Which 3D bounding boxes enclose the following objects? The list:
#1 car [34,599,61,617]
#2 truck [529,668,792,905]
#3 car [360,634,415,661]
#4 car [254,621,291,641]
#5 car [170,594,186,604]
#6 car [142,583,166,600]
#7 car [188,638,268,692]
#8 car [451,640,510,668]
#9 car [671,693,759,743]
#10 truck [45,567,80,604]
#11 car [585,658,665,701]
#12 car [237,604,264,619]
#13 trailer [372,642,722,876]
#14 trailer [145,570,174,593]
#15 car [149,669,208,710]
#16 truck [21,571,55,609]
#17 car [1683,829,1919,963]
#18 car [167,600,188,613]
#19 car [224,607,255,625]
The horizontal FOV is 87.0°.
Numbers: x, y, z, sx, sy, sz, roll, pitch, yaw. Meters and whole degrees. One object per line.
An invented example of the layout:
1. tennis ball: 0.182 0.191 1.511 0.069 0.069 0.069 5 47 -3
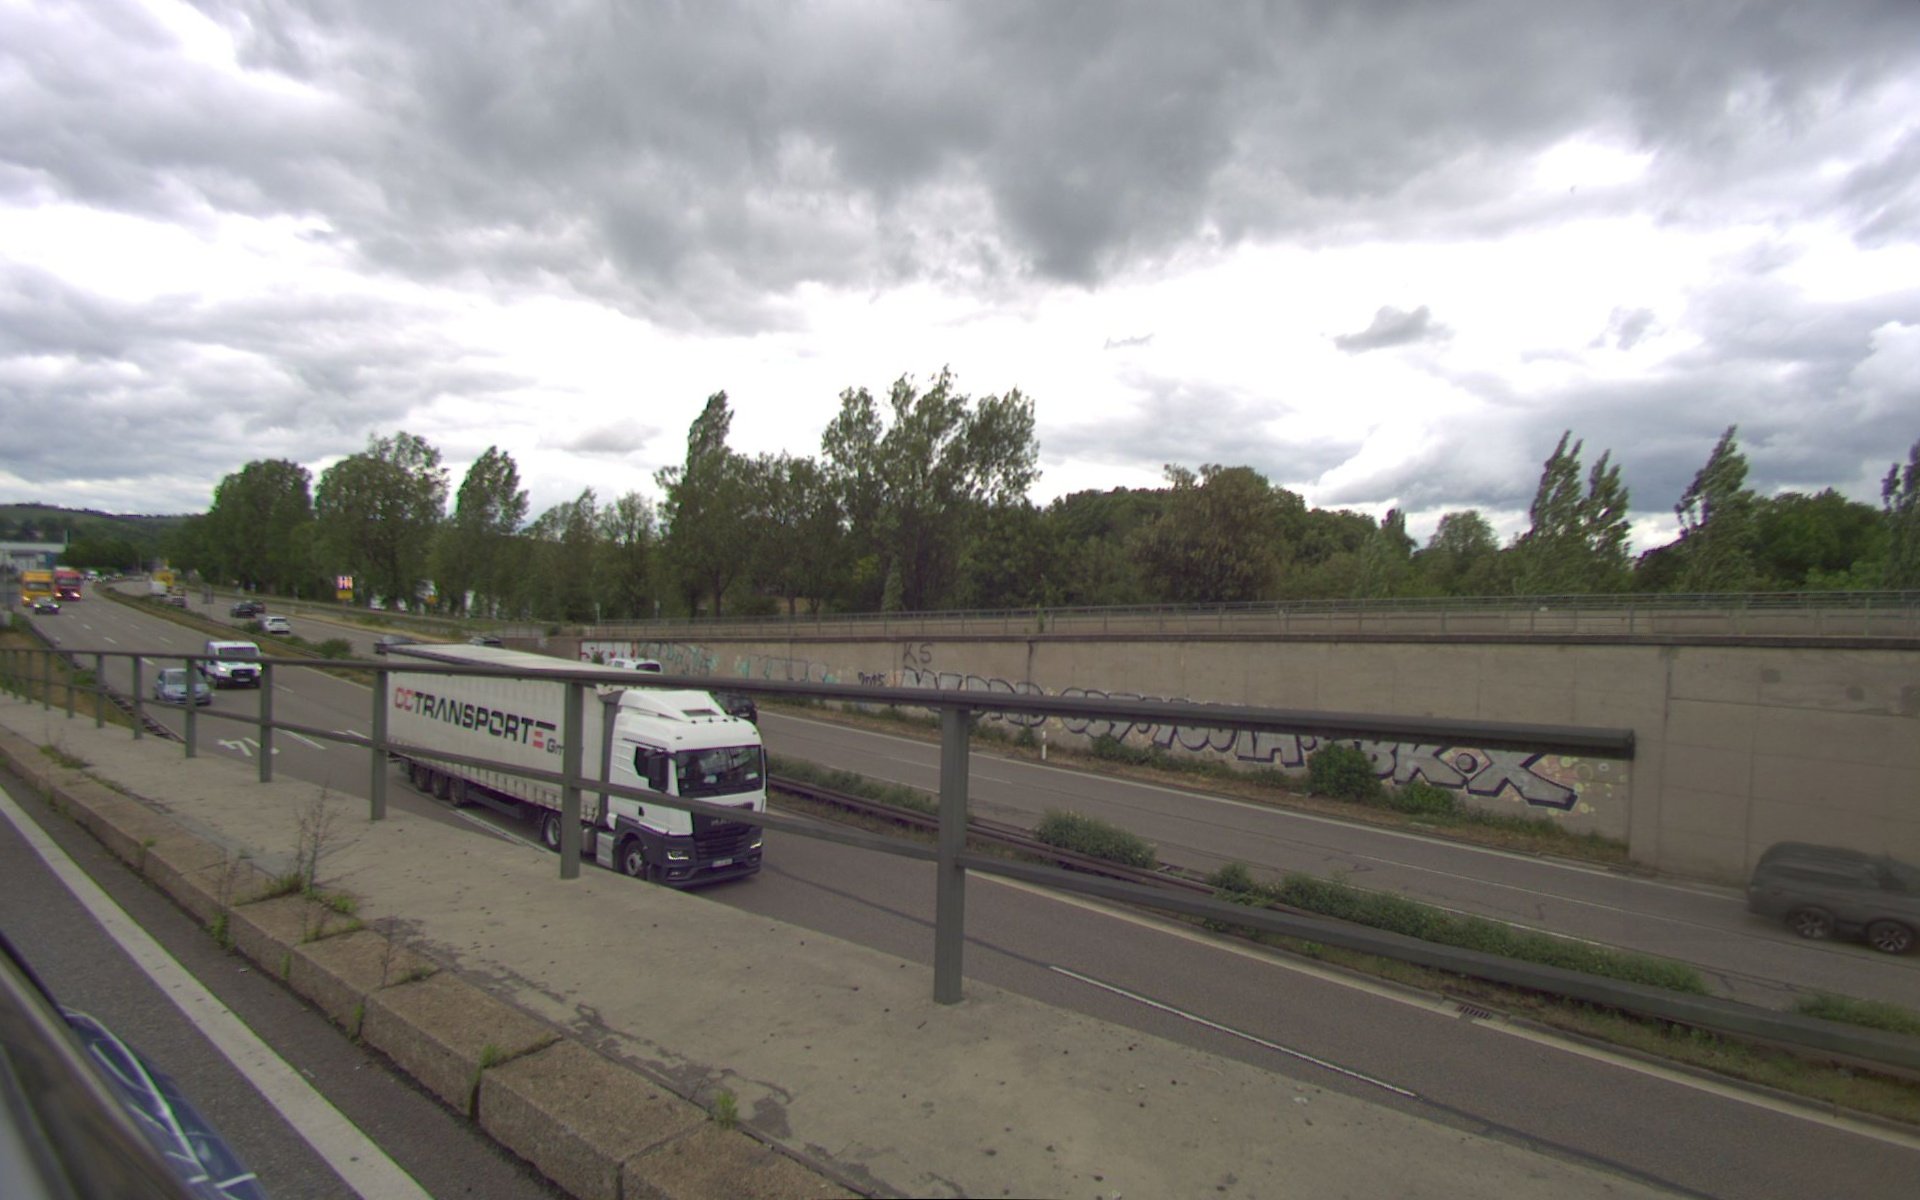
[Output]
1. car: -92.857 0.819 102.944 4.002 1.679 1.786 3 1 44
2. truck: -6.895 3.849 22.883 5.874 4.140 2.971 2 0 43
3. car: -40.875 3.388 72.272 4.577 1.638 1.973 2 -1 41
4. car: -59.807 2.667 87.972 3.898 1.505 1.755 2 -1 43
5. car: -138.368 -0.143 179.082 3.775 1.664 1.640 2 0 45
6. car: -133.939 -1.453 168.169 6.101 2.613 2.144 2 0 42
7. car: -37.735 3.272 52.077 6.502 2.259 2.076 3 0 43
8. car: -33.472 3.768 70.603 4.577 1.638 1.973 2 -1 41
9. car: -10.556 5.008 43.518 3.998 1.633 1.648 2 0 41
10. truck: -123.268 -2.025 138.916 9.922 4.774 2.717 2 -2 44
11. car: -18.493 4.338 55.820 4.908 1.922 1.927 2 0 41
12. car: -85.751 1.383 122.328 4.636 1.664 1.839 2 0 45
13. trailer: -11.820 3.633 27.430 13.989 4.140 2.970 2 0 43
14. trailer: -161.249 -3.789 203.780 3.203 4.294 13.691 2 0 -44
15. car: -34.477 3.912 44.616 3.538 1.383 1.492 3 0 43
16. truck: -107.711 -1.167 118.144 8.175 4.153 2.382 3 1 44
17. car: 18.122 6.228 21.546 4.254 1.682 1.693 2 0 41
18. car: -98.607 0.808 127.552 1.694 1.464 3.654 2 1 -44
19. car: -78.639 1.767 110.425 4.183 1.731 1.861 2 0 43
